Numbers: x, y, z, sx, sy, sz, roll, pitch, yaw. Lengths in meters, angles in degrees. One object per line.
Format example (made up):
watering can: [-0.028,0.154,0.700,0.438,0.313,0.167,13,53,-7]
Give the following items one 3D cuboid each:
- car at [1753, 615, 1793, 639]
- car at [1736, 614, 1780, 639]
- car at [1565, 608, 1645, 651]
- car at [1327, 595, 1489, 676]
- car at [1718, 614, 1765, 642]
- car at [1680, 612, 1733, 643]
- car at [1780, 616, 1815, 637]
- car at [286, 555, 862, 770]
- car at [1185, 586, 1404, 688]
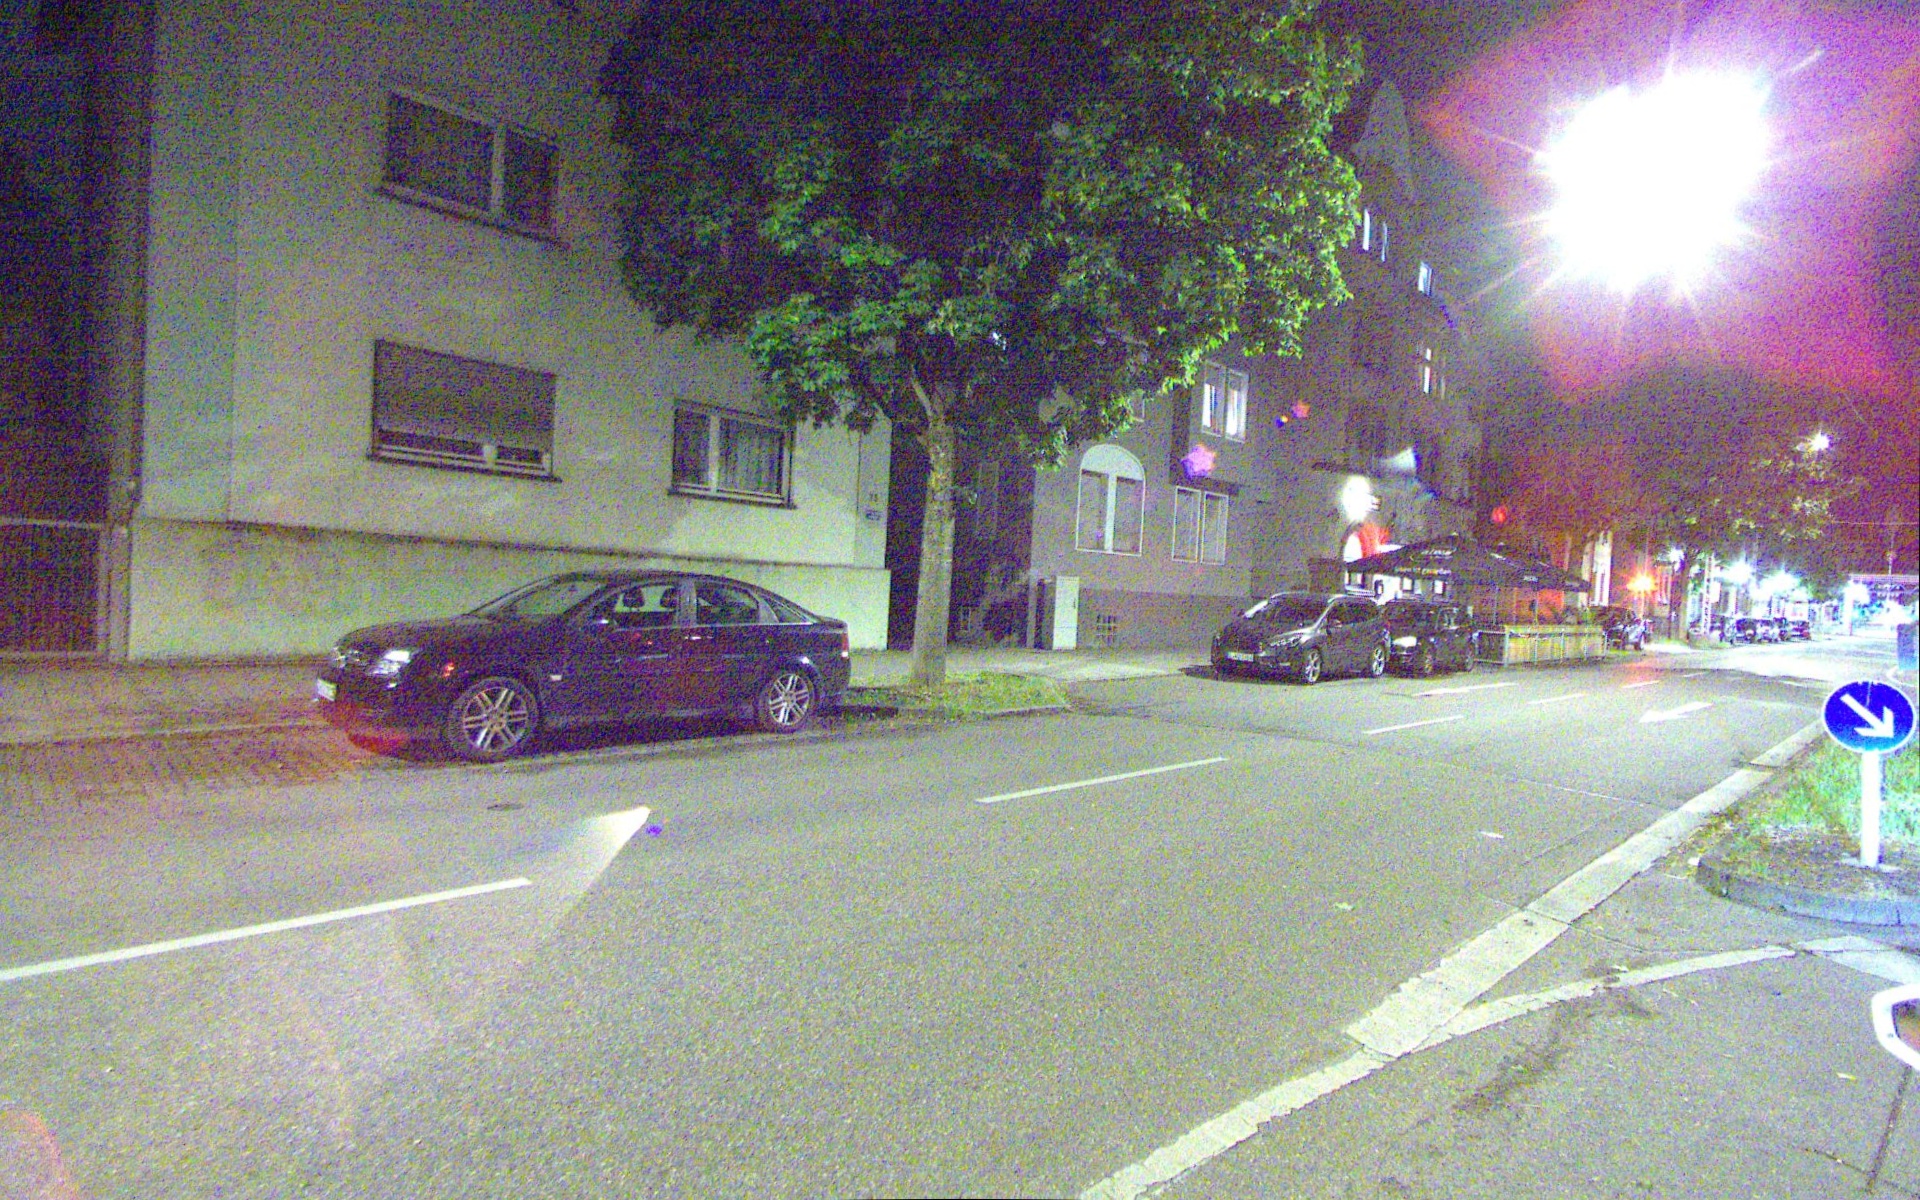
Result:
car: [53.948,1.800,66.614,1.634,1.450,3.975,3,1,45]
car: [49.240,1.630,61.955,1.634,1.450,3.975,3,1,45]
car: [23.701,1.064,36.834,1.634,1.450,3.975,3,1,45]
car: [9.722,0.727,21.641,1.785,1.501,4.297,4,1,44]
car: [44.834,1.609,57.610,1.634,1.450,3.975,3,1,45]
car: [38.781,1.417,52.148,1.634,1.450,3.975,3,1,45]
car: [63.599,2.020,76.262,1.634,1.450,3.975,3,1,45]
car: [-3.057,0.434,8.764,1.604,1.401,4.428,3,1,42]
car: [6.118,0.605,18.082,4.423,1.491,1.880,1,4,-45]
